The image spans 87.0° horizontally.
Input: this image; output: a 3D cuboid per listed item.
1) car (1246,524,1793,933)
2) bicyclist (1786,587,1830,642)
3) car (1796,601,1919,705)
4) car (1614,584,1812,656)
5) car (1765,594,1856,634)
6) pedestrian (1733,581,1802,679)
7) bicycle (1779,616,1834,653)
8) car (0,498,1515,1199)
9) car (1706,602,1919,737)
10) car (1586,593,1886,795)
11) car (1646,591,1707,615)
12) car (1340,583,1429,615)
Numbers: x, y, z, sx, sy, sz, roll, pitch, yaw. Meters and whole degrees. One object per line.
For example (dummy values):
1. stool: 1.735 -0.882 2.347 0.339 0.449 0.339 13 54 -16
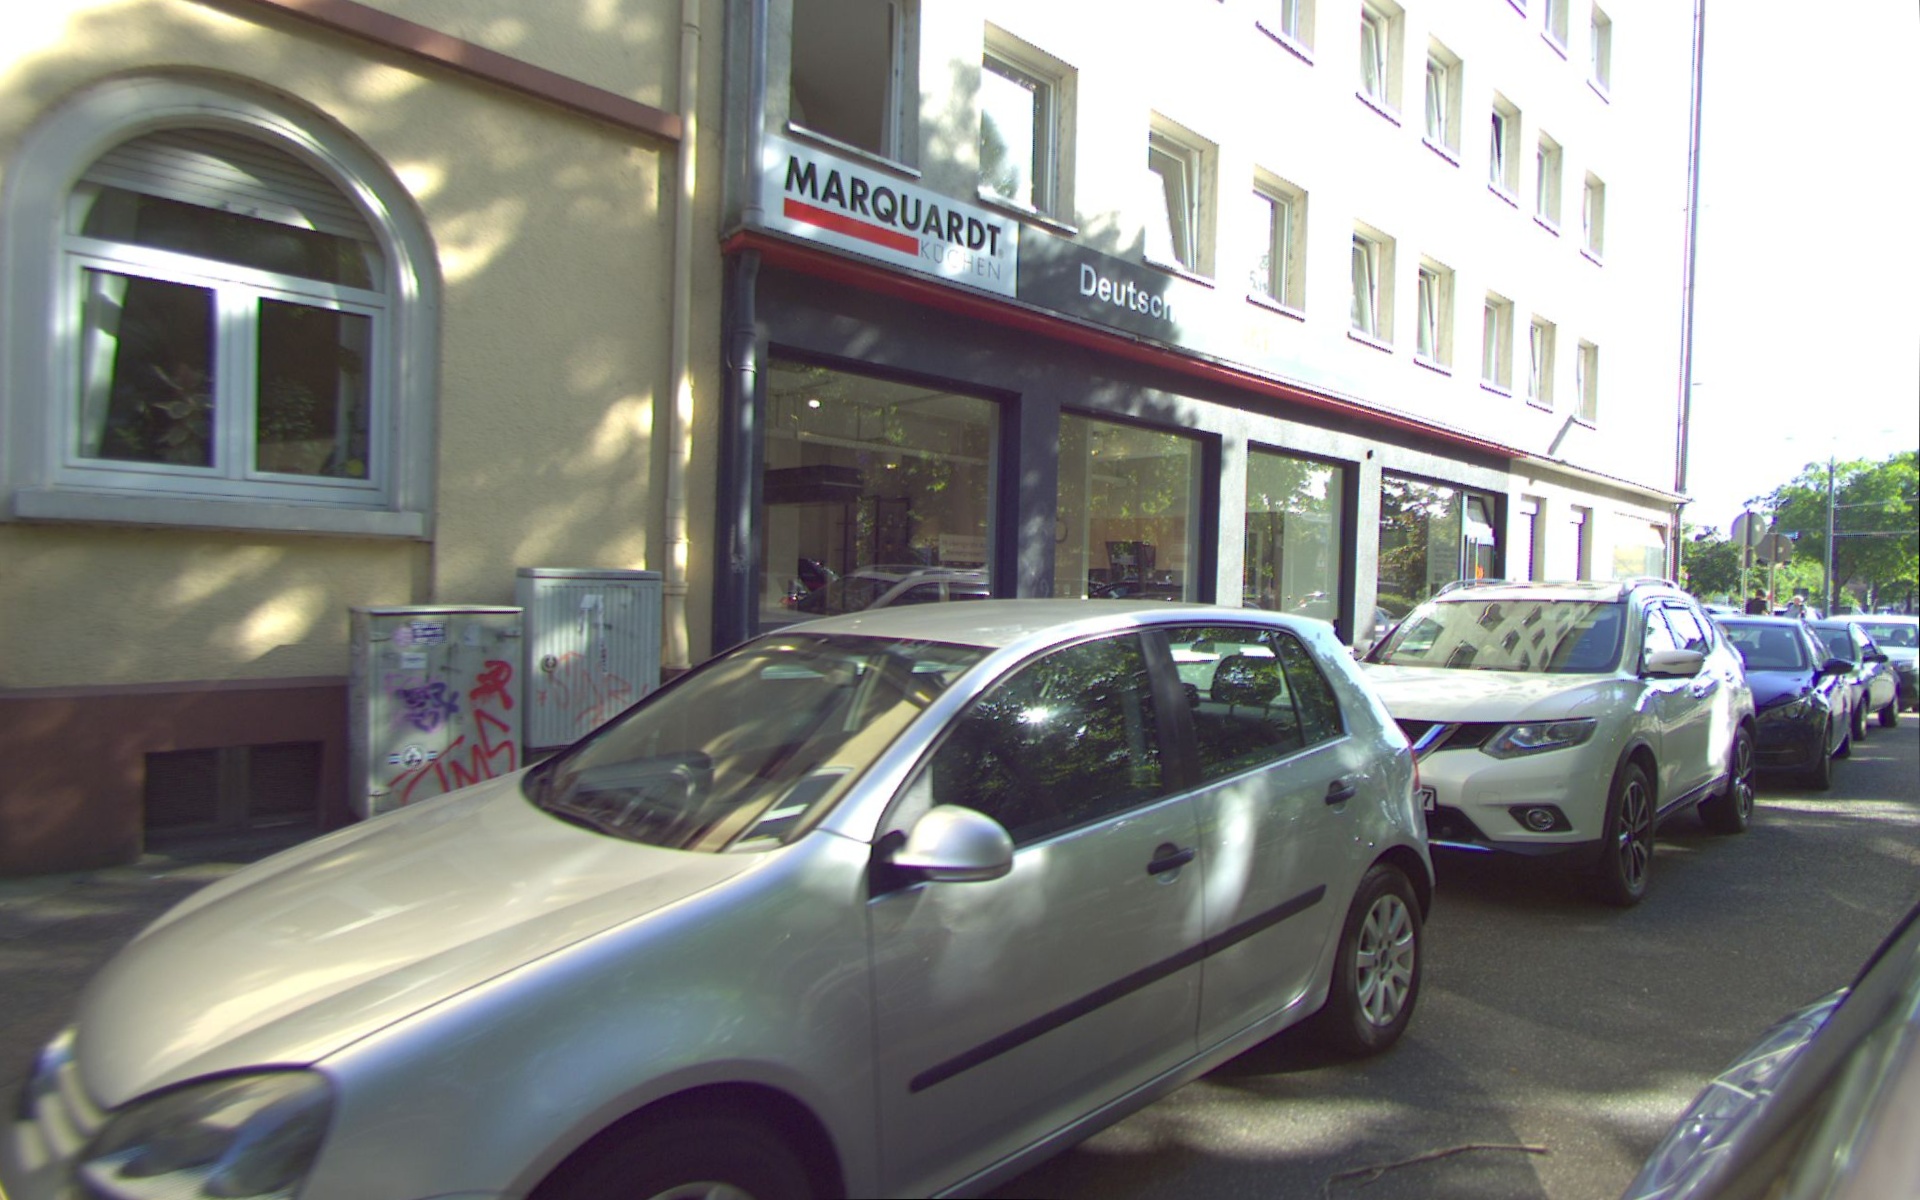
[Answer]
1. car: 3.851 0.538 6.554 4.433 1.775 1.764 0 2 -43
2. bicyclist: 25.227 0.413 30.123 0.820 1.583 0.590 3 1 28
3. car: 15.702 0.827 17.087 3.951 1.516 1.723 1 2 -40
4. car: 21.442 0.492 29.086 1.835 1.797 4.493 2 1 -9
5. car: 35.965 0.560 42.747 4.944 1.537 1.923 1 2 -38
6. pedestrian: 14.937 0.538 18.722 0.731 1.743 0.762 1 1 -35
7. bicycle: 25.217 1.011 30.183 0.822 0.998 1.928 3 2 27
8. car: -0.088 0.634 3.044 4.164 1.519 1.765 1 2 -42
9. car: 11.312 0.804 13.298 3.607 1.481 1.600 1 1 -40
10. car: 7.761 0.724 9.942 1.803 1.481 4.369 3 2 44
11. car: 49.032 0.217 69.280 4.397 1.473 1.875 1 1 -33
12. car: 21.102 -0.041 50.234 4.397 1.473 1.875 1 1 -33
